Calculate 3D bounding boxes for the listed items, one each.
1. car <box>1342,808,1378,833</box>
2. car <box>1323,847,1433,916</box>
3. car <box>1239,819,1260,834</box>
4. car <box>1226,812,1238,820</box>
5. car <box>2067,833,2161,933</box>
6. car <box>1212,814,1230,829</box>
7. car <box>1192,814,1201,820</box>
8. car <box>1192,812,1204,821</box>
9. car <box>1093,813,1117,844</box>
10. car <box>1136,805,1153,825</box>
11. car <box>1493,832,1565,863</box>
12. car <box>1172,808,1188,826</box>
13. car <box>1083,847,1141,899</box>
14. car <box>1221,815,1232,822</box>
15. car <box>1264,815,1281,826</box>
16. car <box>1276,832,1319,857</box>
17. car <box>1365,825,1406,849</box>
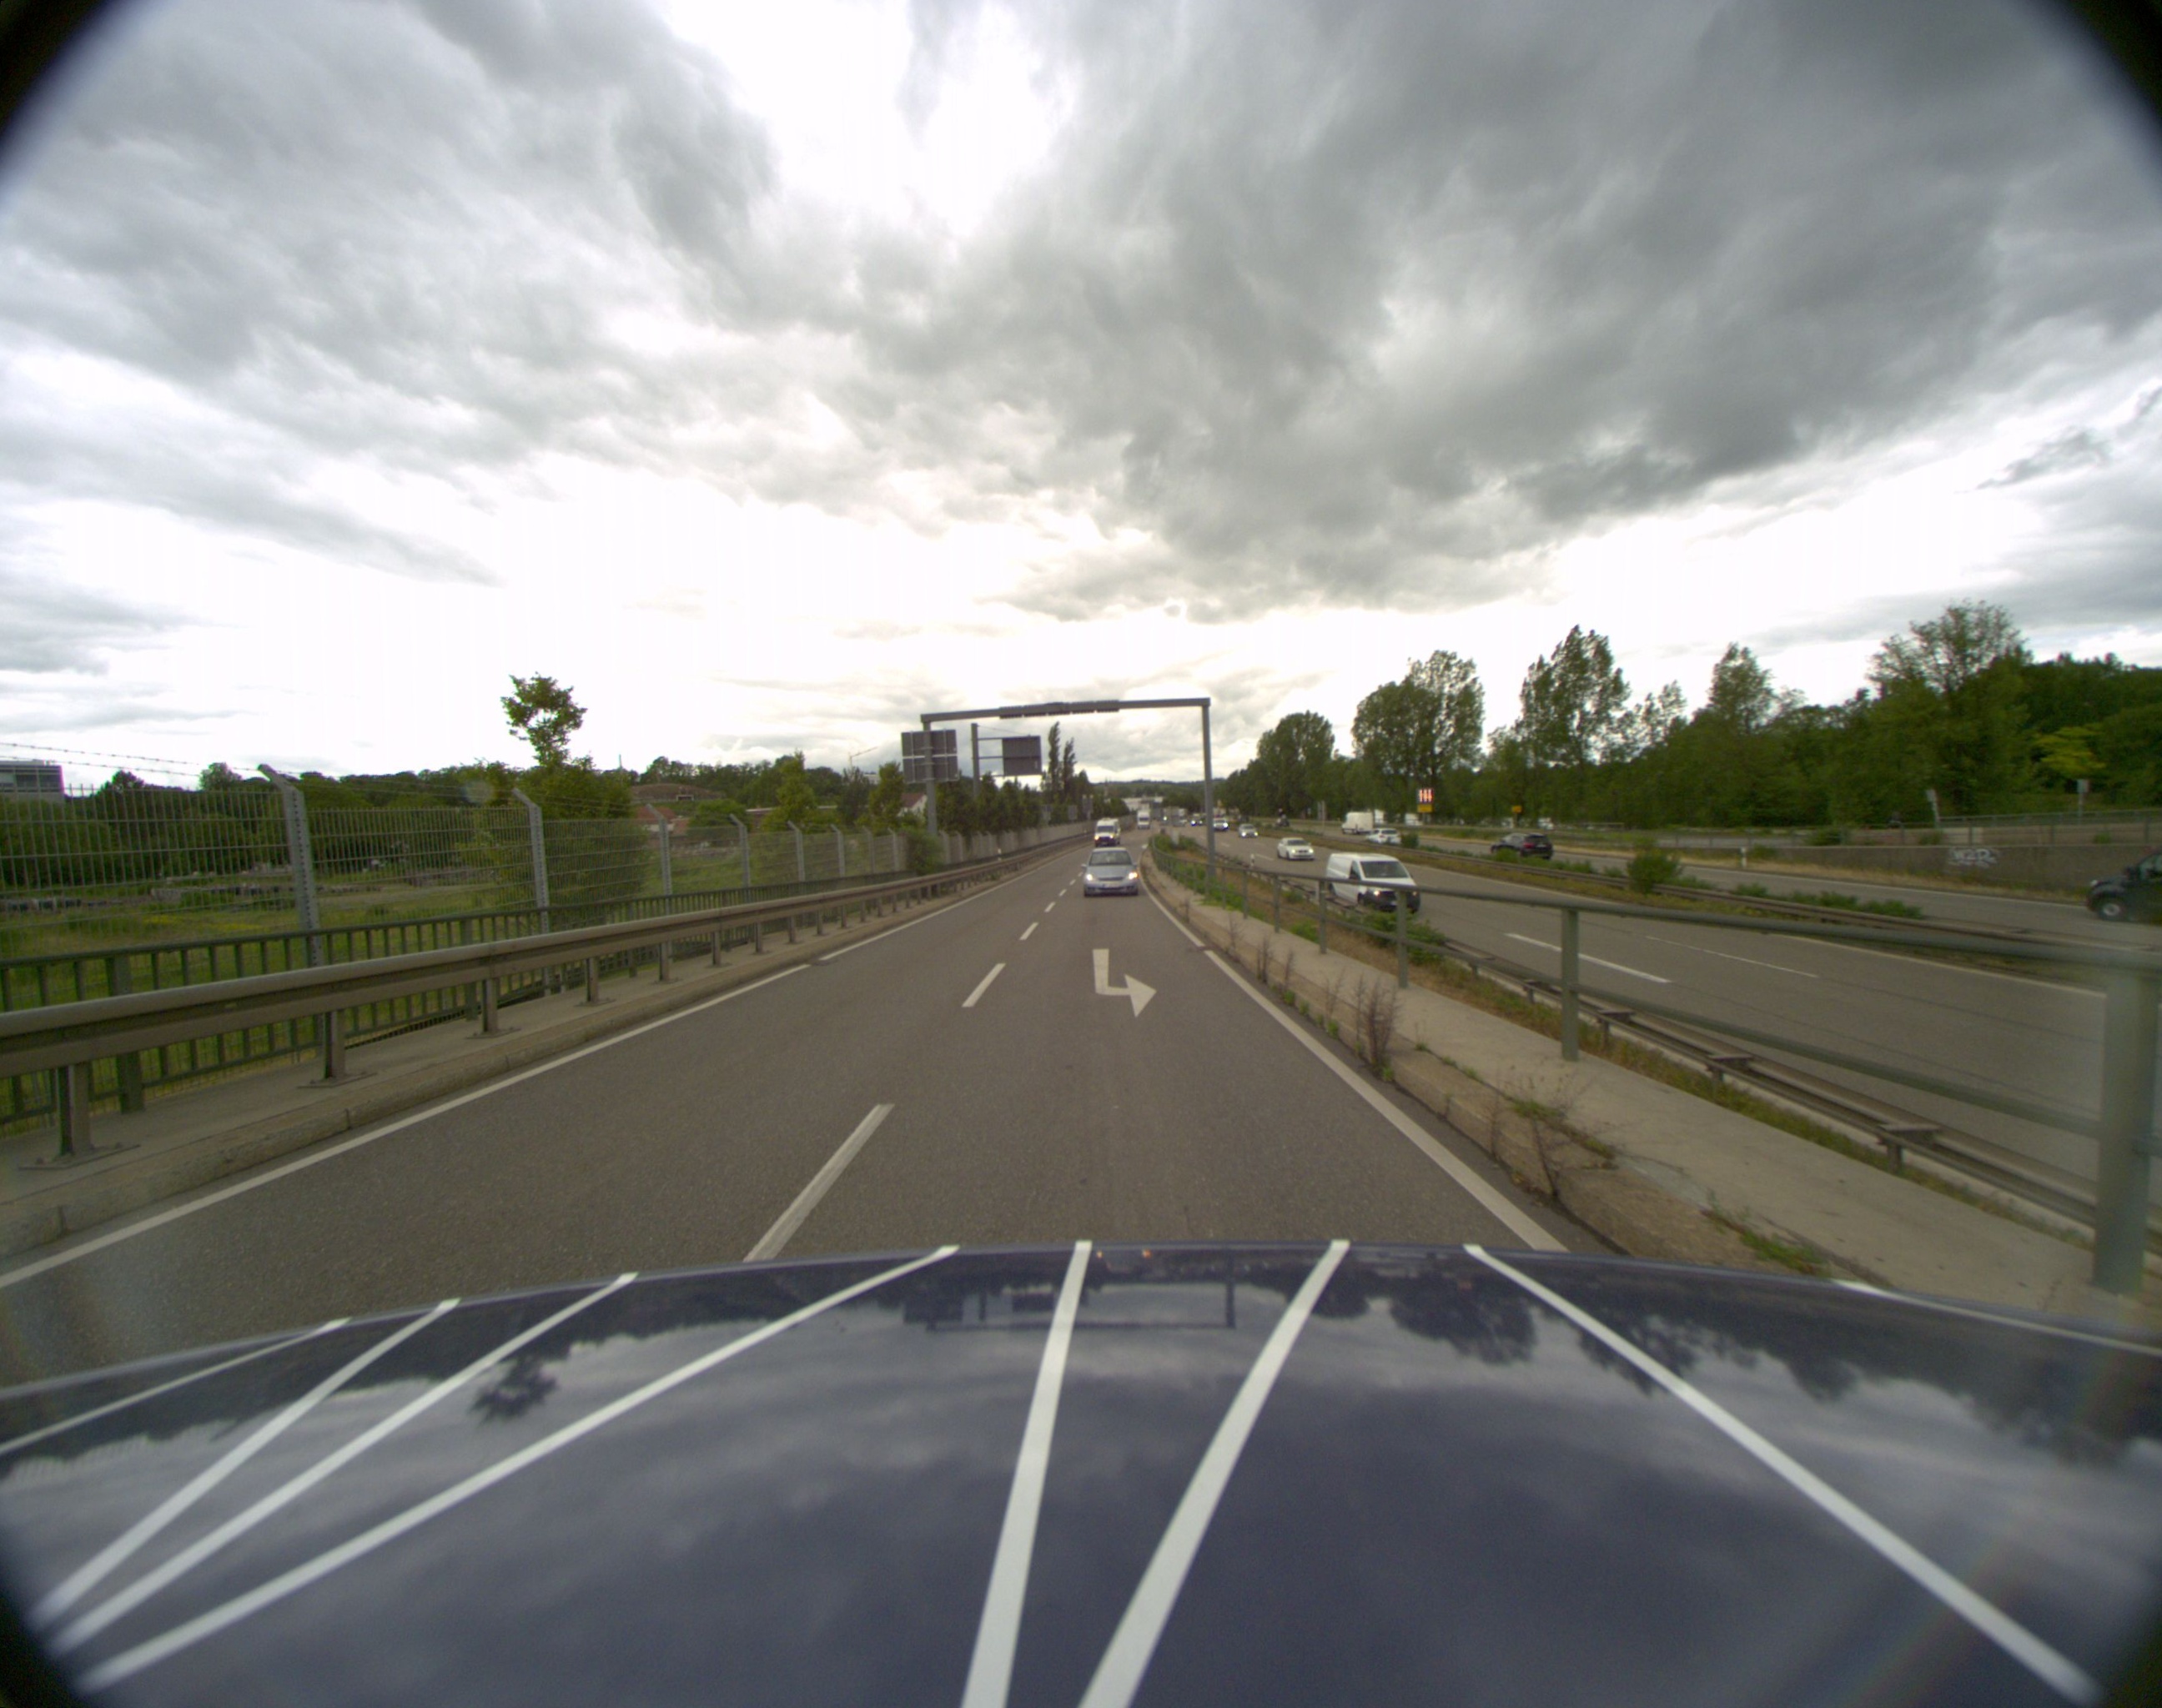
[{"bbox_3d":[32.482,-3.921,88.591,2.215,2.765,5.357,-1,4,1],"label":"car"},{"bbox_3d":[10.628,0.892,27.650,1.998,1.867,5.195,-2,4,1],"label":"car"},{"bbox_3d":[19.405,-3.176,87.714,1.560,1.544,3.680,-2,4,0],"label":"car"},{"bbox_3d":[33.366,-8.322,167.818,1.903,1.641,3.930,-2,3,1],"label":"car"},{"bbox_3d":[30.015,0.883,19.142,2.250,2.533,6.110,-2,4,0],"label":"car"},{"bbox_3d":[20.065,-4.730,109.259,1.954,1.925,4.893,-2,4,3],"label":"car"},{"bbox_3d":[33.971,-10.776,223.597,1.903,1.641,3.930,-2,3,1],"label":"car"},{"bbox_3d":[23.573,-7.565,153.278,1.845,1.704,4.276,-3,4,0],"label":"car"},{"bbox_3d":[2.407,-2.460,75.145,2.115,2.767,6.780,-2,1,3],"label":"car"},{"bbox_3d":[11.409,-6.861,135.615,2.664,3.311,7.092,-2,2,6],"label":"car"},{"bbox_3d":[27.552,-0.458,46.881,1.903,1.641,4.330,-1,4,1],"label":"car"},{"bbox_3d":[19.601,-7.424,151.201,2.367,3.224,7.654,-1,4,1],"label":"car"},{"bbox_3d":[1.001,0.592,26.049,1.781,1.578,3.999,-2,1,0],"label":"car"},{"bbox_3d":[35.274,-8.556,184.464,1.903,1.641,3.930,-2,3,1],"label":"car"},{"bbox_3d":[32.349,-5.674,128.193,1.903,1.640,3.931,-2,1,1],"label":"car"},{"bbox_3d":[14.629,-0.648,51.514,1.747,1.444,4.163,-2,3,0],"label":"car"},{"bbox_3d":[24.416,-1.389,61.092,1.761,1.641,3.929,-2,4,0],"label":"car"}]
